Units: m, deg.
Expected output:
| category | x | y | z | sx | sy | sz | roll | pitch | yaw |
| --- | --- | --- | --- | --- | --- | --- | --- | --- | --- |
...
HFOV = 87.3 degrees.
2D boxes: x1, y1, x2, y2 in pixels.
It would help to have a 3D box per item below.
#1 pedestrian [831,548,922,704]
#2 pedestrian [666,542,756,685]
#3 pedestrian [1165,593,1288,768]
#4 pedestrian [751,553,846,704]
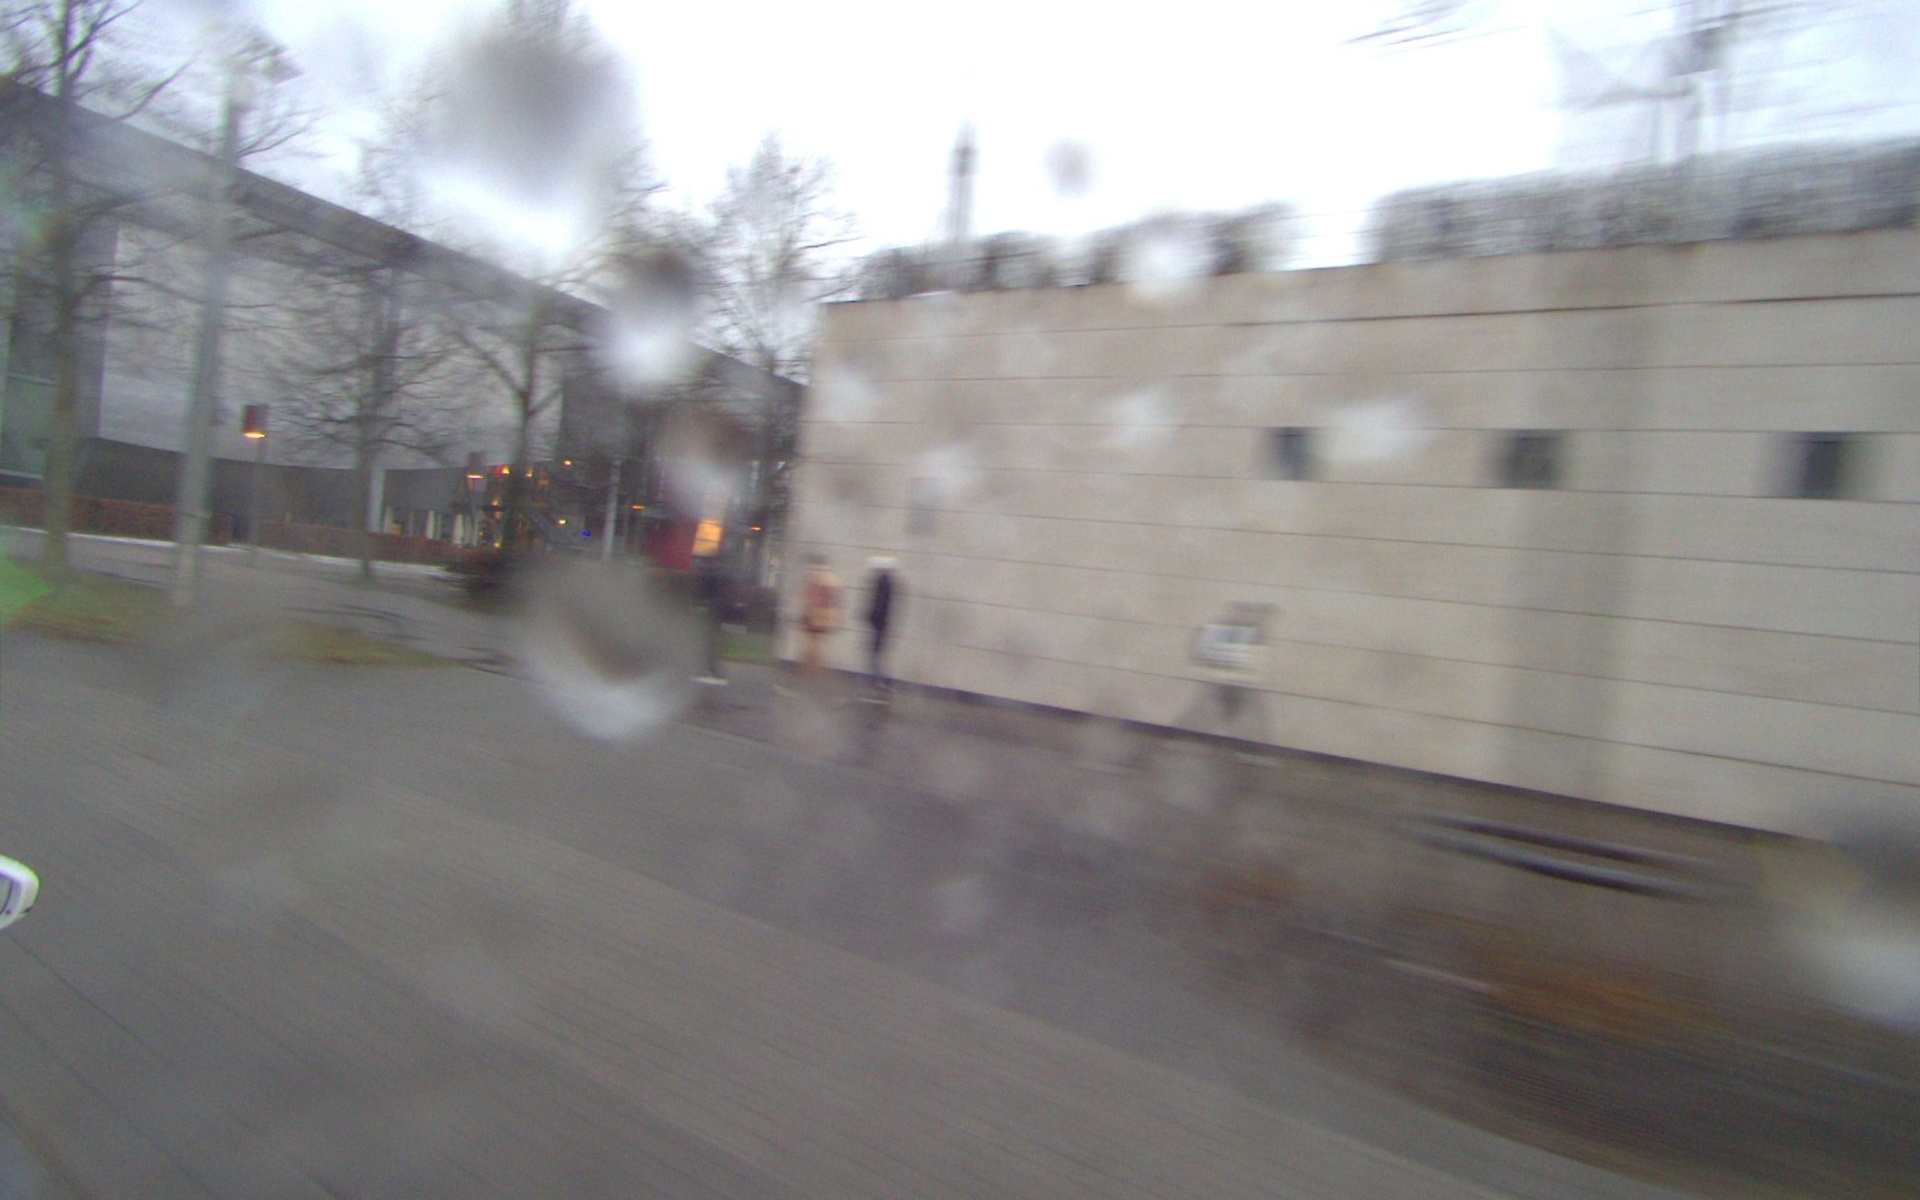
| category | x | y | z | sx | sy | sz | roll | pitch | yaw |
| --- | --- | --- | --- | --- | --- | --- | --- | --- | --- |
| pedestrian | -1.022 | 0.323 | 12.297 | 0.606 | 1.798 | 0.671 | 7 | -1 | 45 |
| pedestrian | -3.064 | 0.167 | 12.369 | 0.671 | 1.644 | 0.607 | 8 | -1 | -43 |
| pedestrian | 2.800 | 0.820 | 10.543 | 0.977 | 1.676 | 0.668 | 6 | 1 | 26 |
| pedestrian | -1.857 | 0.327 | 11.585 | 0.606 | 1.631 | 0.671 | 7 | -1 | 45 |
